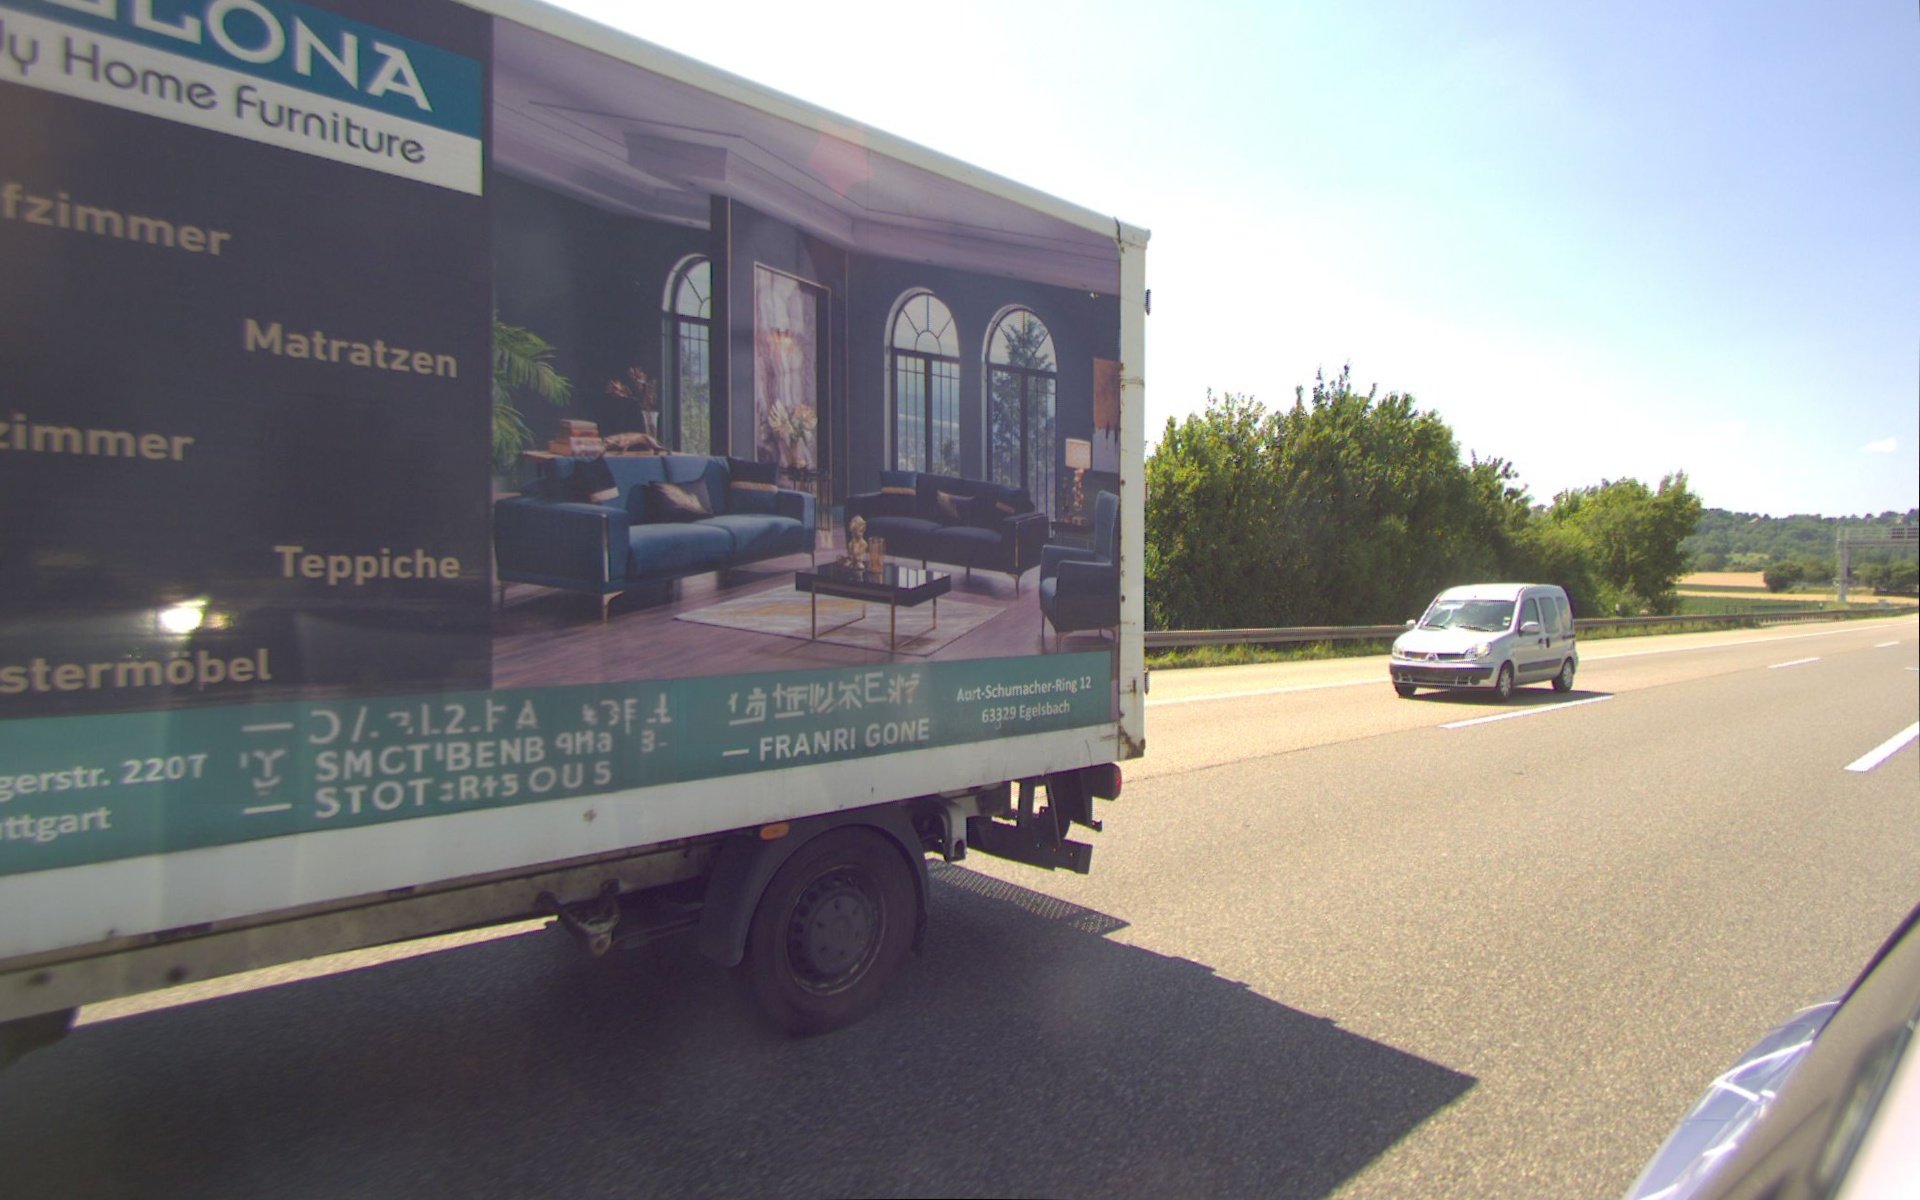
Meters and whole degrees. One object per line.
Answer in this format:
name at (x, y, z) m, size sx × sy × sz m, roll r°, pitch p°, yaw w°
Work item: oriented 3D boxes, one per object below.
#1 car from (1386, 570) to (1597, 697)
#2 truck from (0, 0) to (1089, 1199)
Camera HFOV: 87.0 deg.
car at (8.477, 0.468, 16.011) m, size 3.902 × 1.759 × 1.630 m, roll 0°, pitch 0°, yaw -40°
truck at (-2.740, -0.149, 2.674) m, size 6.633 × 3.106 × 2.324 m, roll 0°, pitch 0°, yaw -41°
